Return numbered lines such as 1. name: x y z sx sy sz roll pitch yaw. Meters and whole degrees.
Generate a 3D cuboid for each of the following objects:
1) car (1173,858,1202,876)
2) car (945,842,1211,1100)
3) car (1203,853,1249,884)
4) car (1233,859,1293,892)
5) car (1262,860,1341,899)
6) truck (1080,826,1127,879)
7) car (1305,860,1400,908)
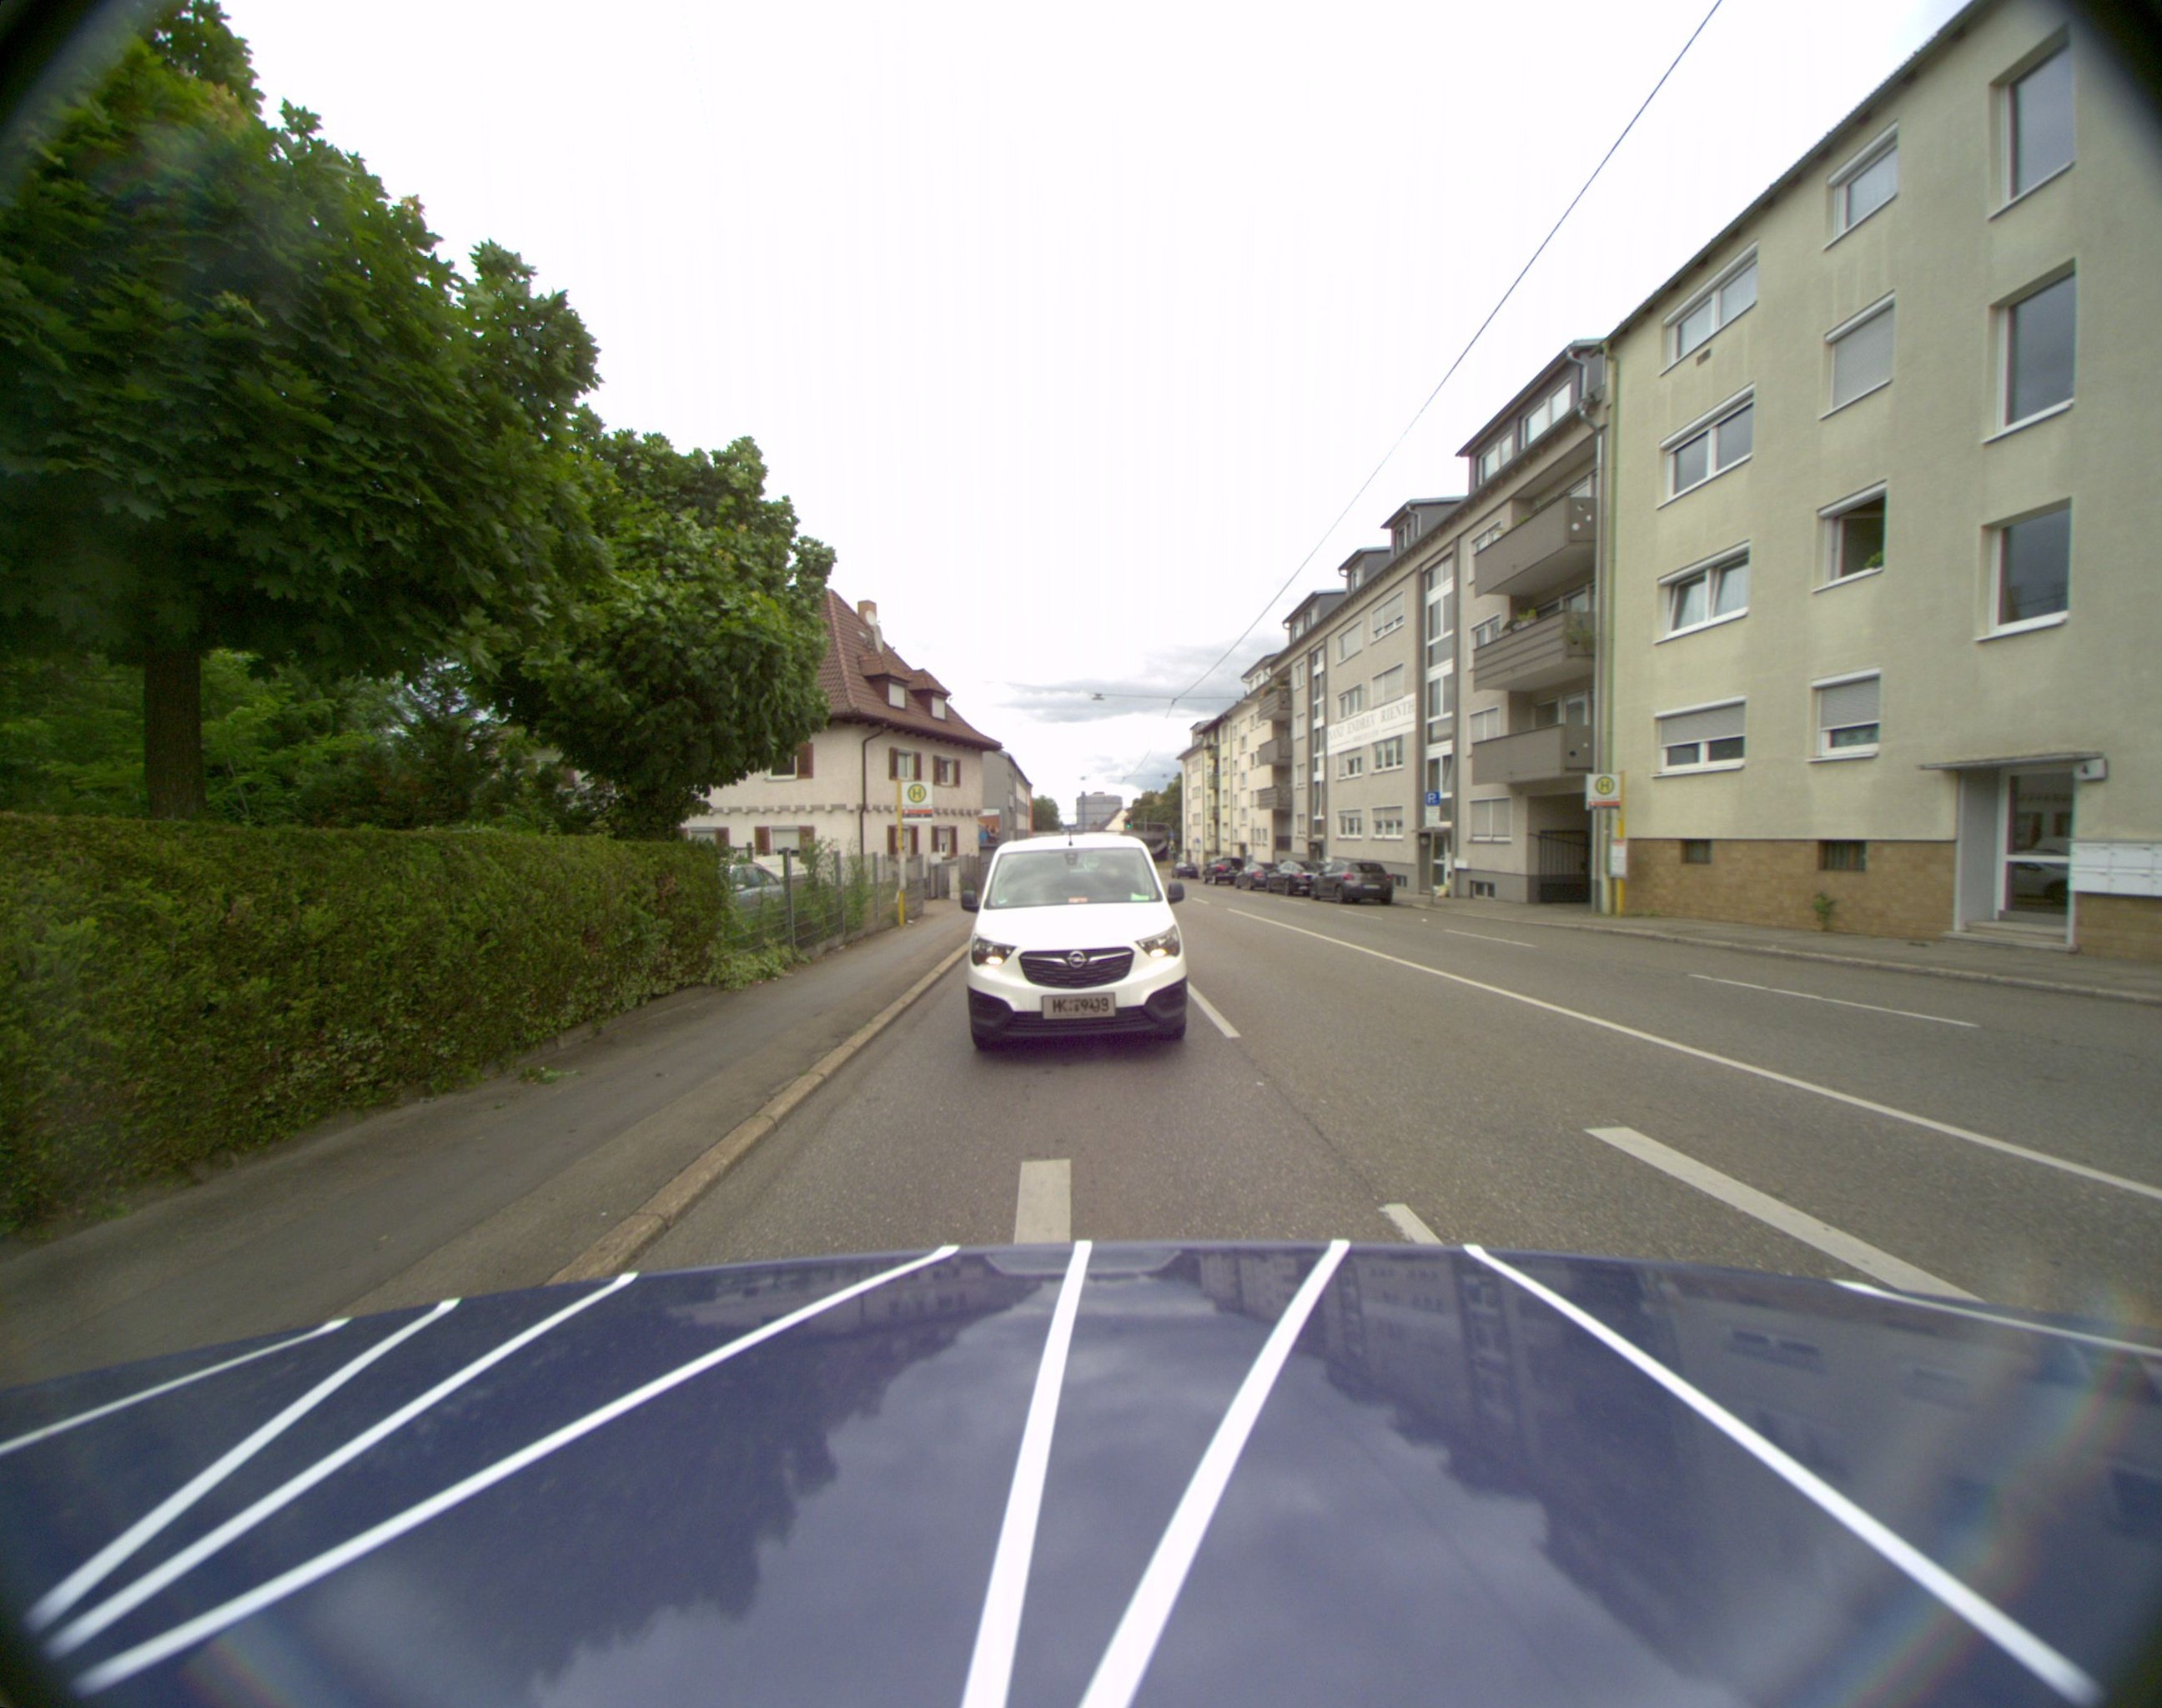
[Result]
1. car: 8.820 1.059 63.157 1.875 1.372 4.307 2 0 1
2. car: -0.060 0.813 7.375 1.803 1.735 3.999 -3 1 -1
3. car: 8.777 0.856 46.411 1.875 1.743 4.306 1 0 -1
4. car: 8.830 1.016 37.228 1.773 1.397 4.306 1 0 -1
5. car: 9.037 1.001 31.610 1.773 1.397 4.717 1 0 -1
6. truck: 1.538 -0.093 56.310 2.776 3.554 8.062 -2 0 -3
7. car: 9.180 0.952 26.023 1.773 1.428 3.800 1 0 -1
